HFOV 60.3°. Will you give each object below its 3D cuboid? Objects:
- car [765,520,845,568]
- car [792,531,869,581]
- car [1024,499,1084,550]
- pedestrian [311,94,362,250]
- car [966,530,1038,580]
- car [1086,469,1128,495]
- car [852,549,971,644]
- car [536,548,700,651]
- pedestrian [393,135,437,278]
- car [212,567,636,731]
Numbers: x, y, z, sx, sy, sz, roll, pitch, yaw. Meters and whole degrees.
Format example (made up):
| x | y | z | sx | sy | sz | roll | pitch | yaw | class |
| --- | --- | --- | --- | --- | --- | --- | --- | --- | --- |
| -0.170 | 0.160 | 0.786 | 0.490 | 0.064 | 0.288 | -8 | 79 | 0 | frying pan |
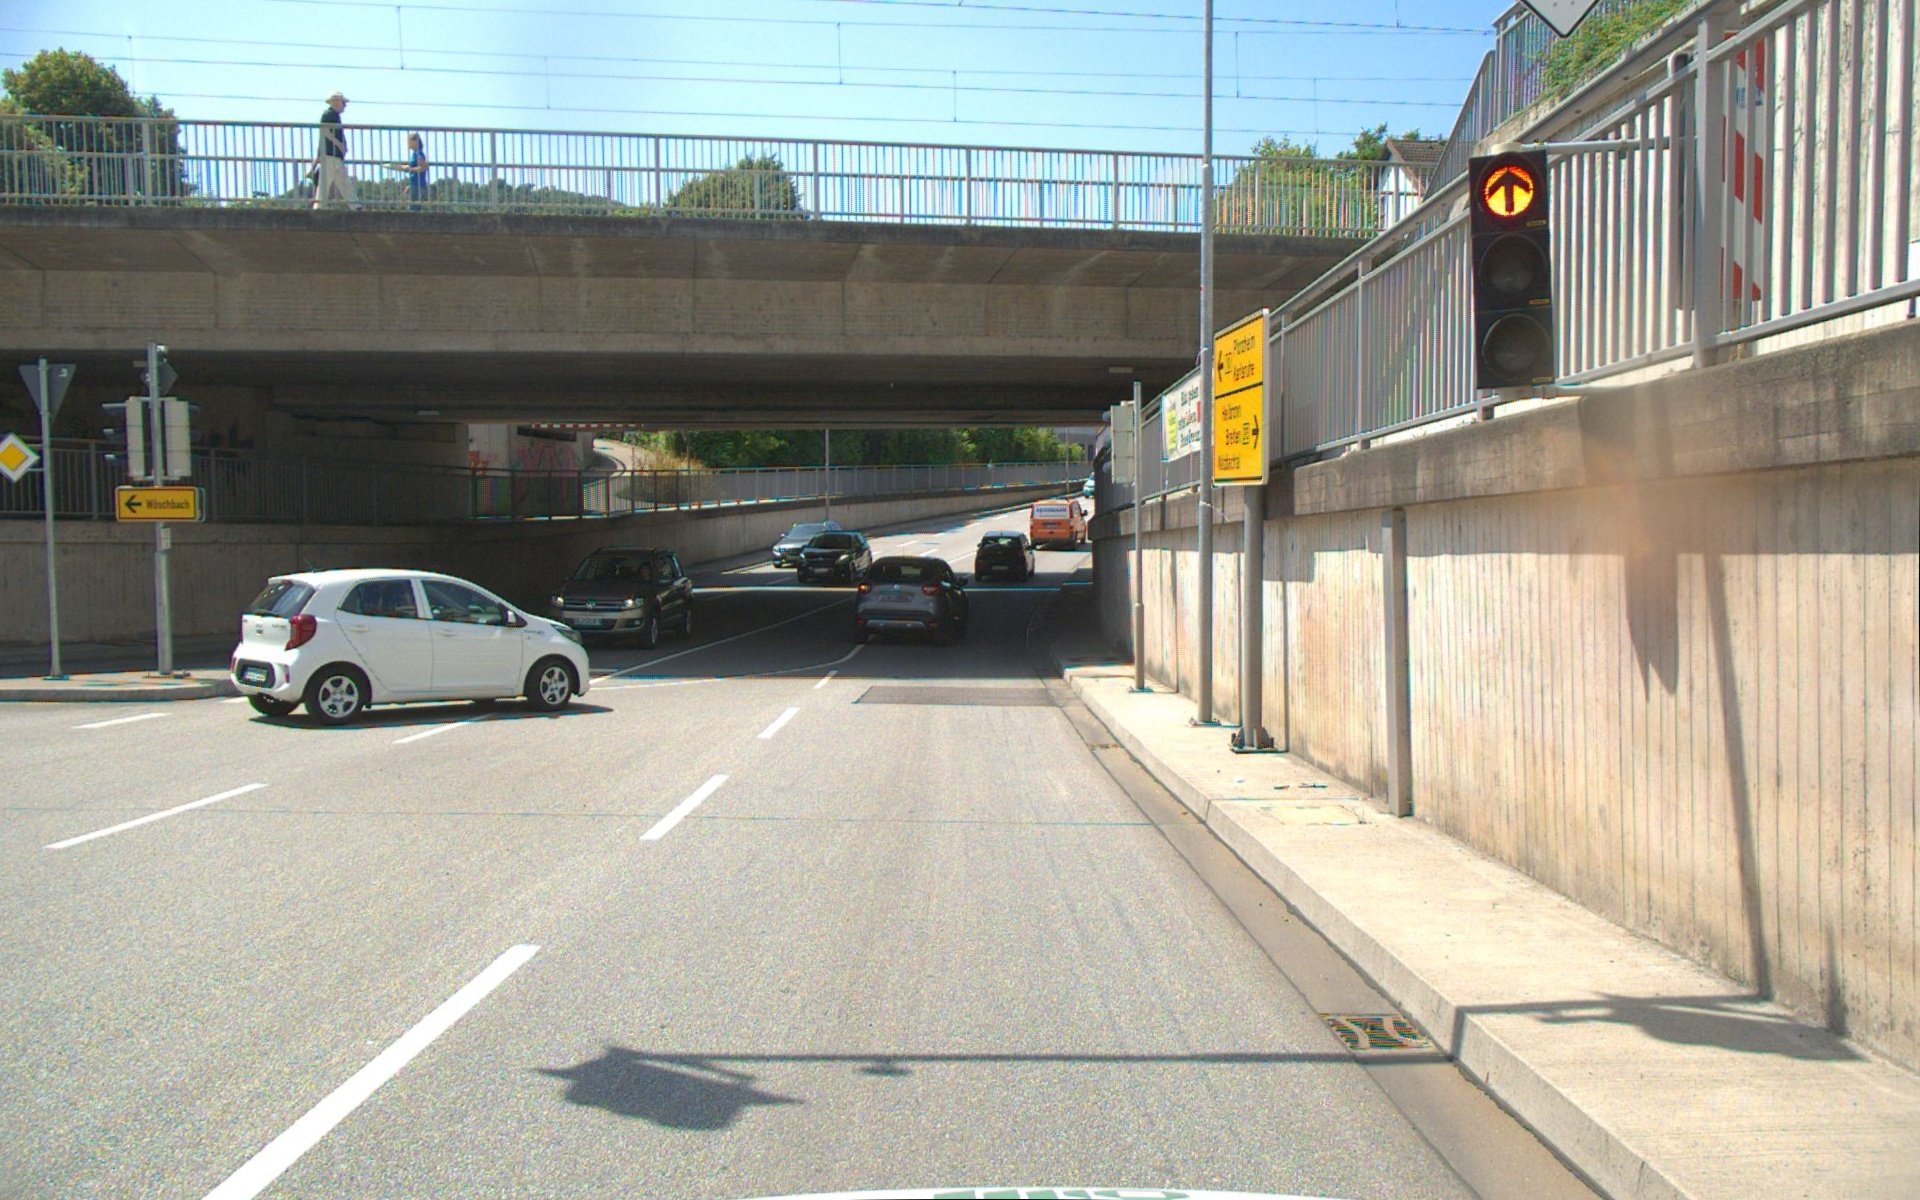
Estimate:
| x | y | z | sx | sy | sz | roll | pitch | yaw | class |
| --- | --- | --- | --- | --- | --- | --- | --- | --- | --- |
| -5.406 | -2.002 | 58.166 | 1.951 | 1.616 | 4.004 | 1 | 3 | 8 | car |
| -3.949 | -1.386 | 51.013 | 1.744 | 1.461 | 4.004 | 0 | 3 | 5 | car |
| 3.860 | -3.076 | 67.216 | 1.833 | 1.965 | 4.725 | 1 | 3 | 11 | car |
| -9.074 | -6.210 | 24.079 | 0.565 | 2.117 | 0.534 | -1 | 0 | -11 | pedestrian |
| 1.363 | -1.460 | 52.582 | 1.951 | 1.534 | 4.004 | 0 | 2 | 6 | car |
| 9.452 | -7.572 | 105.924 | 1.951 | 1.615 | 4.005 | 2 | 5 | 16 | car |
| -0.845 | -0.126 | 31.416 | 1.952 | 1.616 | 4.003 | 0 | 3 | 3 | car |
| -5.982 | -0.071 | 29.410 | 1.952 | 1.655 | 4.002 | 0 | 3 | 2 | car |
| -8.565 | -6.177 | 26.013 | 0.529 | 2.117 | 0.534 | -1 | 0 | -8 | pedestrian |
| -5.593 | 0.418 | 17.588 | 1.702 | 1.444 | 3.972 | 3 | 4 | 45 | car |
